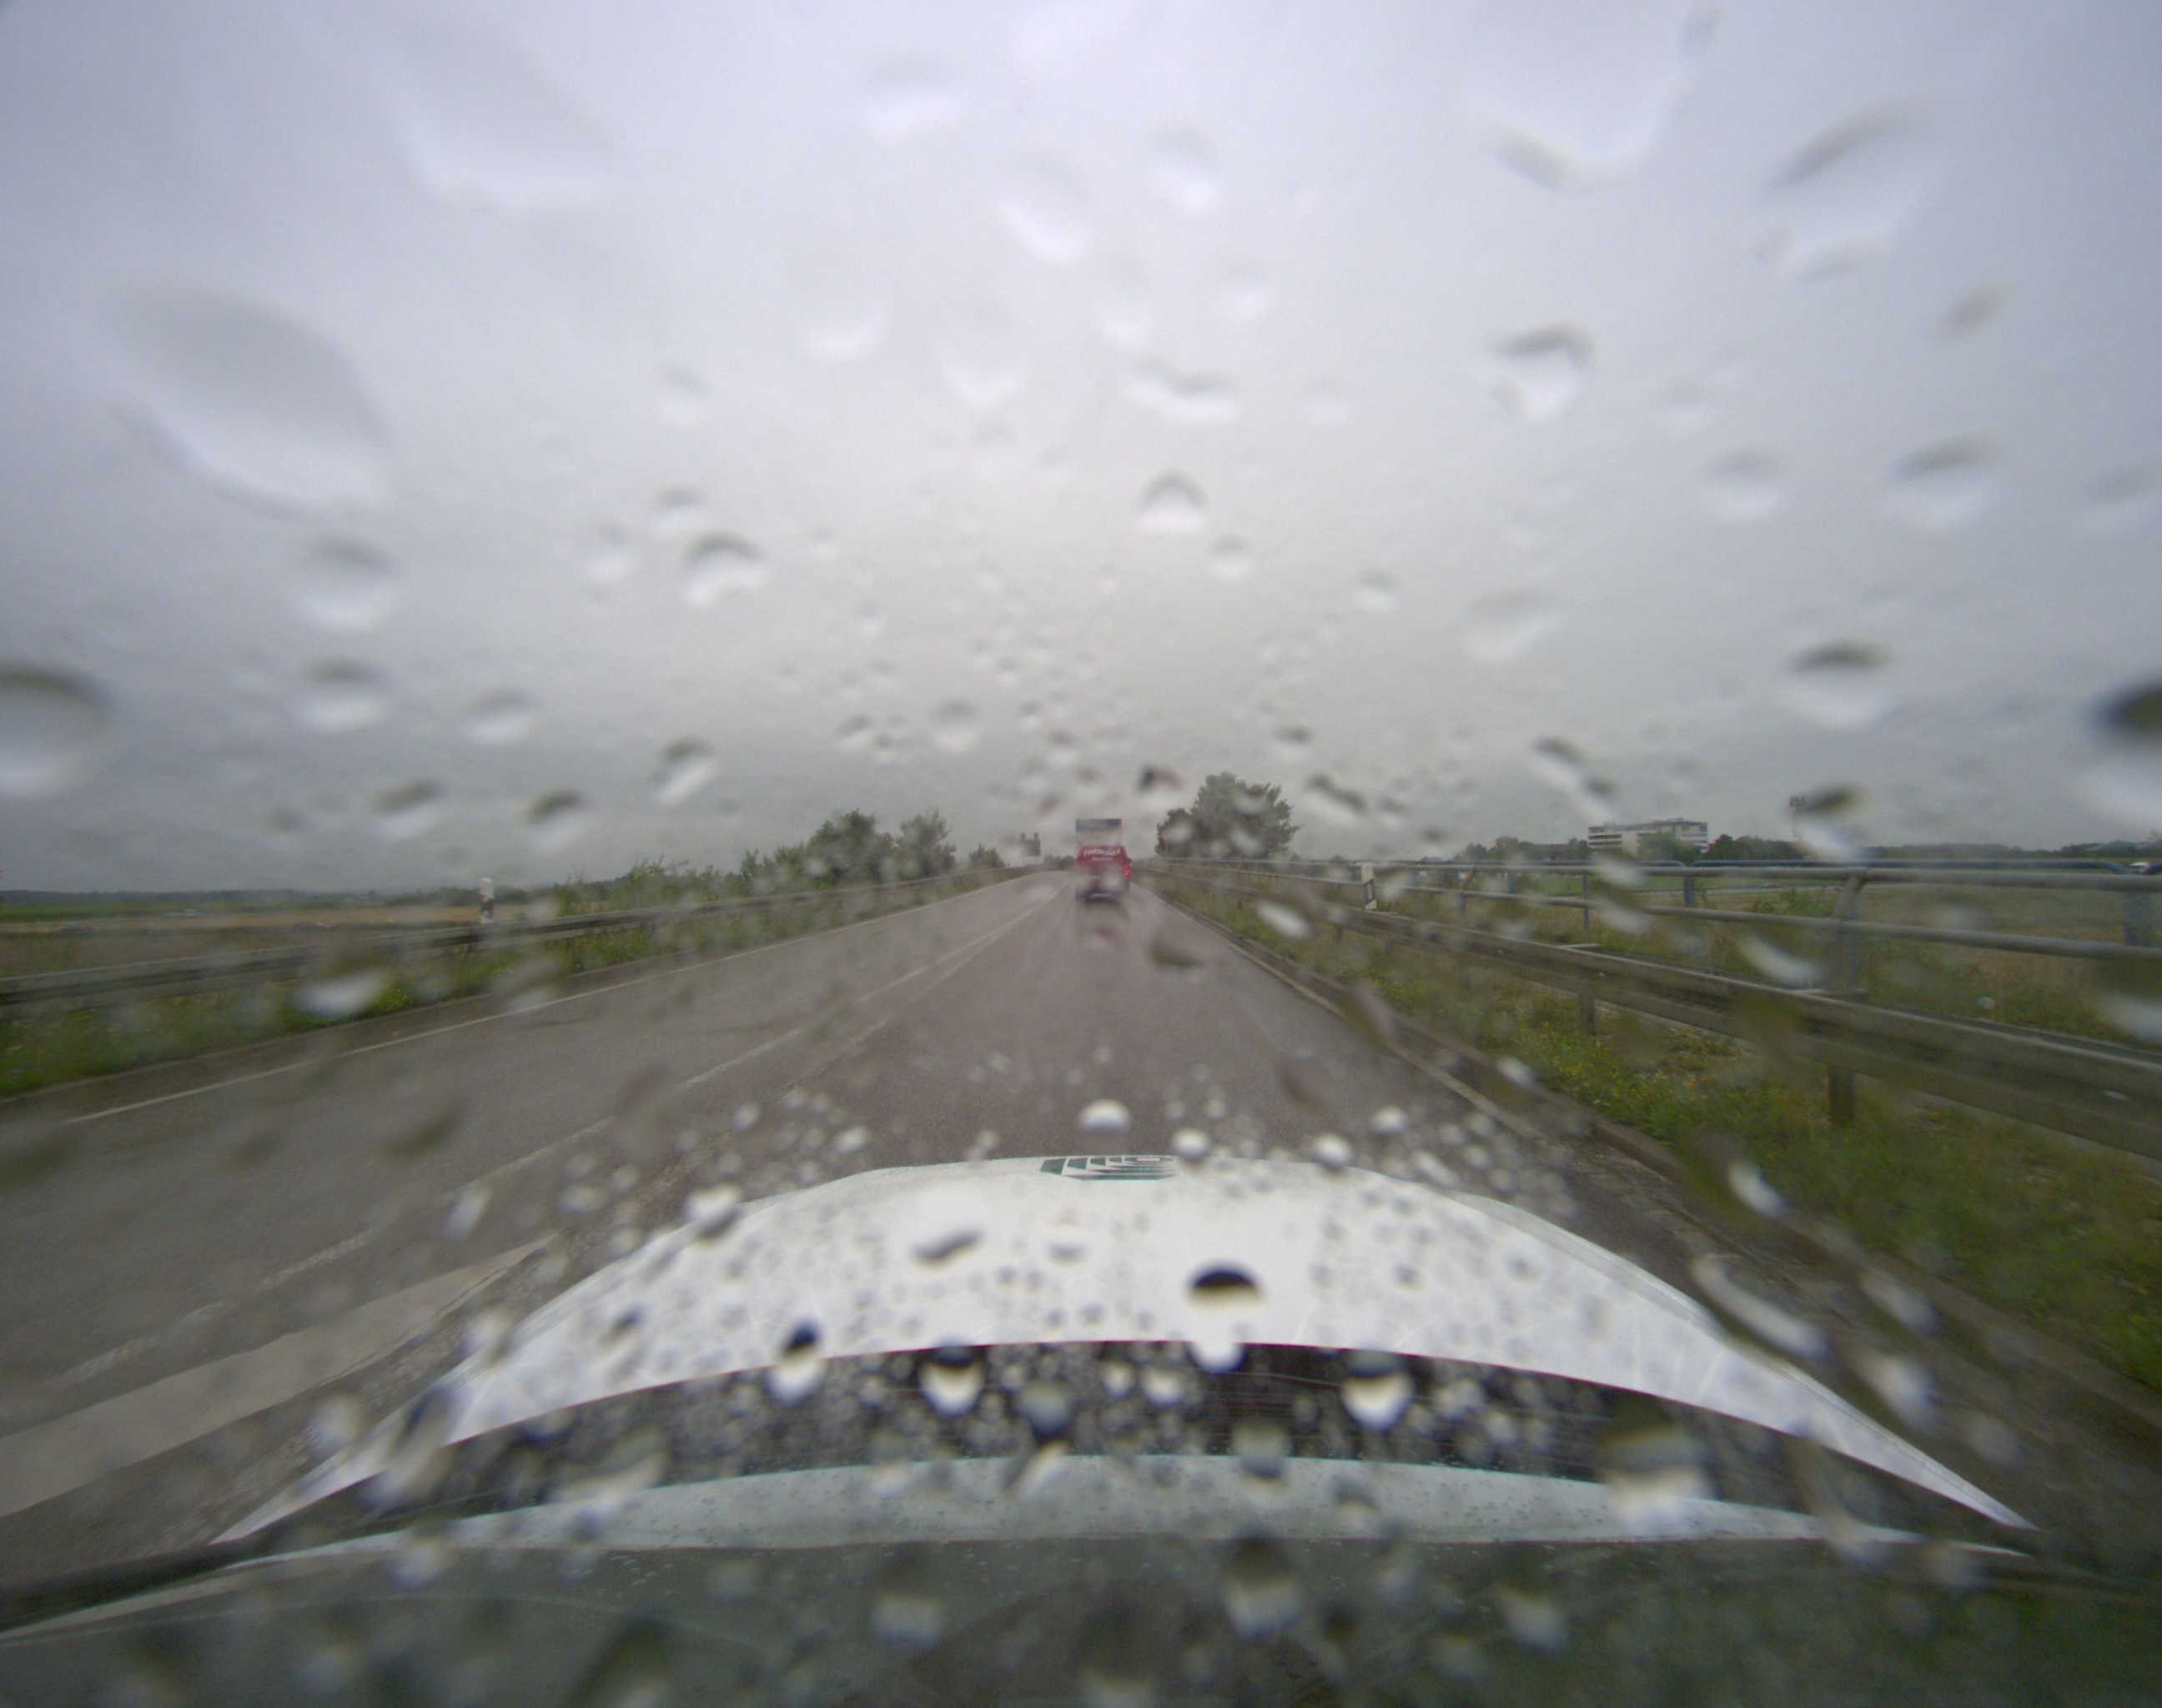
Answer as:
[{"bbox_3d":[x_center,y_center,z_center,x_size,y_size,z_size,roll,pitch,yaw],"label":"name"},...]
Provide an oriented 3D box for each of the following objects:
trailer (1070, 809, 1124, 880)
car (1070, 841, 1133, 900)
[{"bbox_3d":[1.078,-0.393,49.401,2.821,3.819,9.719,-2,-1,2],"label":"trailer"},{"bbox_3d":[0.771,0.588,29.198,1.986,1.870,4.980,-2,-1,2],"label":"car"}]
